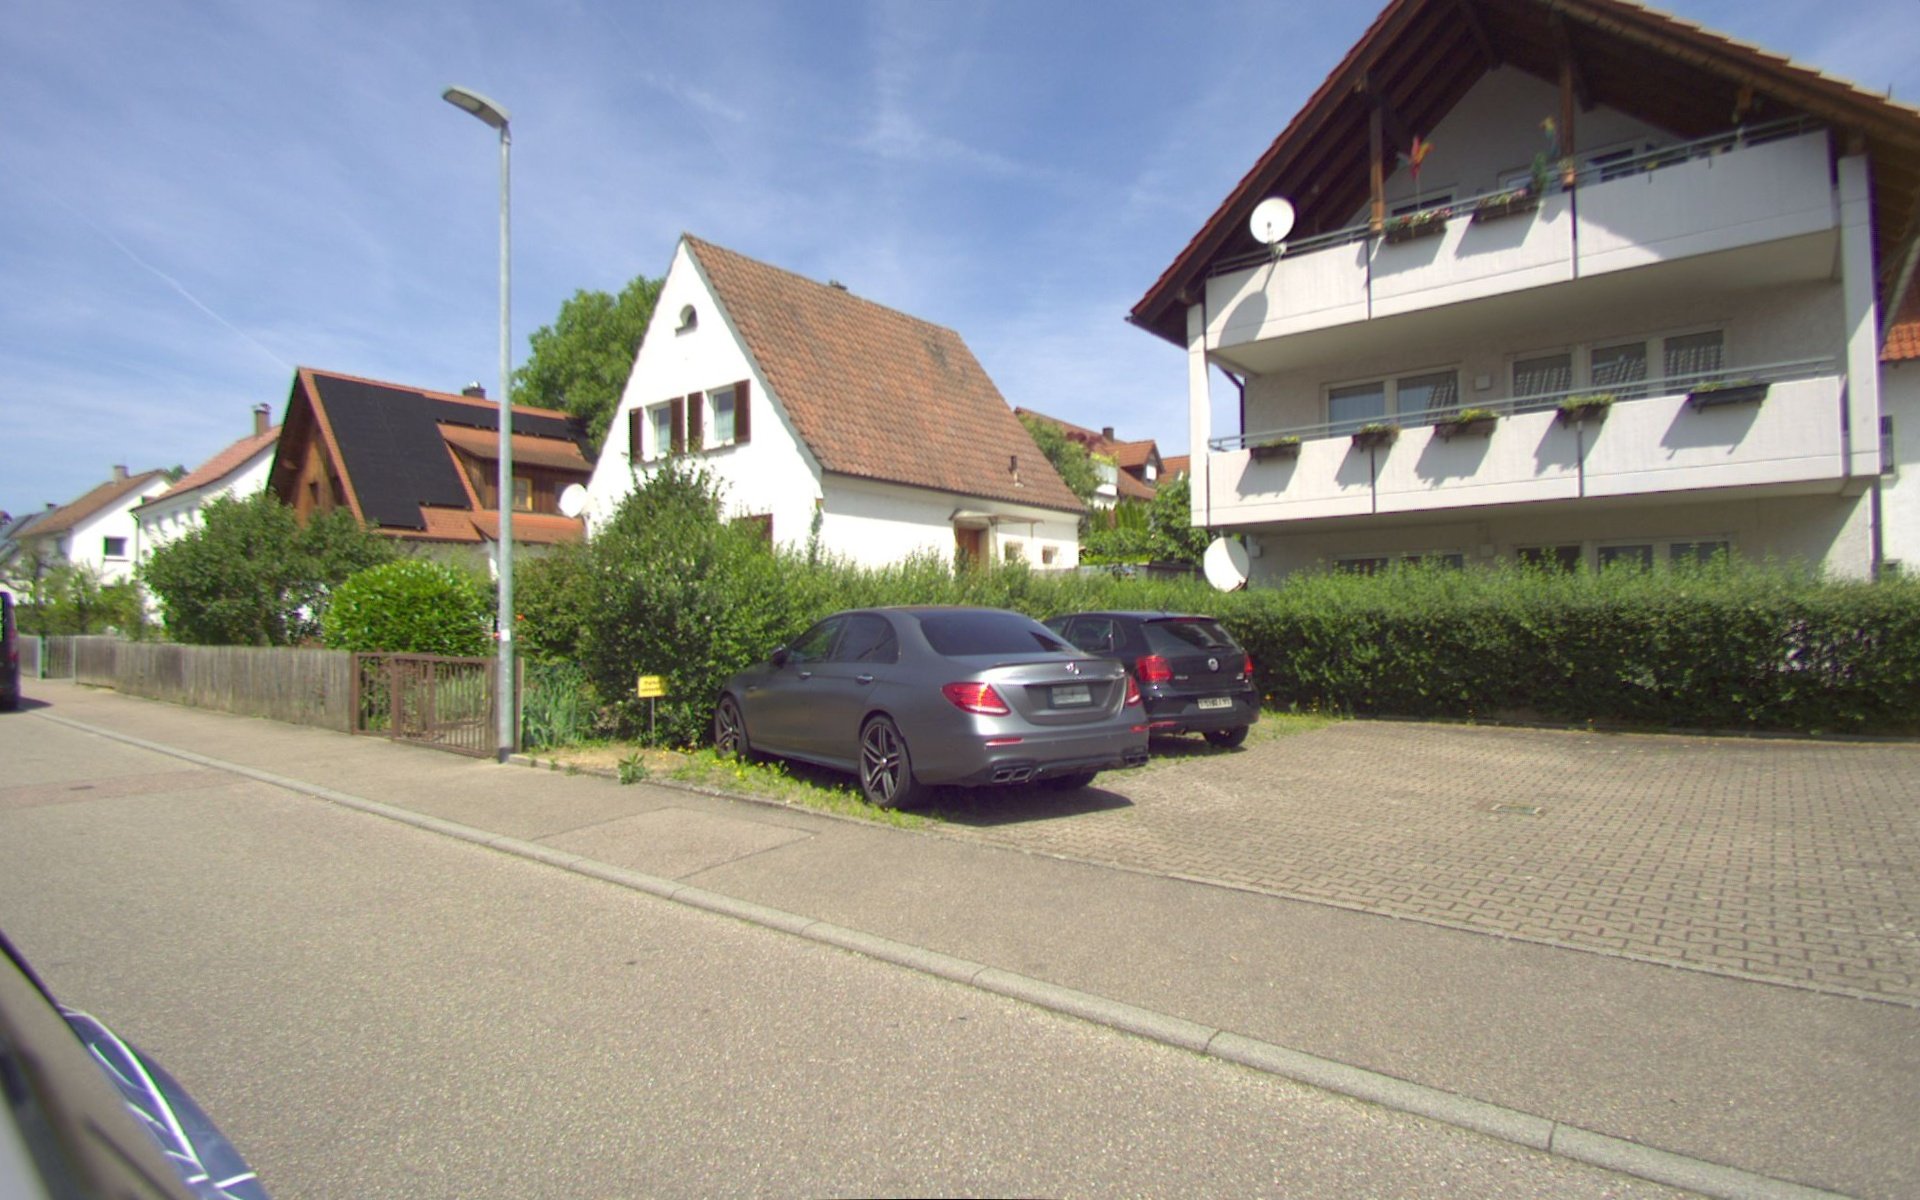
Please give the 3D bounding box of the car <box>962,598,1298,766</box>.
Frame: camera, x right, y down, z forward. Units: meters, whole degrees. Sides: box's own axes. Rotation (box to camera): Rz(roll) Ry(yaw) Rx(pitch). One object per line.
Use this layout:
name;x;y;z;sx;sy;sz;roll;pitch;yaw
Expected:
car;1.678;0.771;11.132;1.666;1.513;3.662;0;-1;-30

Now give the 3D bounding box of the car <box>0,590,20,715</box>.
car;-17.326;0.865;16.768;4.691;1.966;1.949;-1;-1;39

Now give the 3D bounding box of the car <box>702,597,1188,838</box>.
car;-0.454;0.745;8.461;1.802;1.443;4.574;0;-1;-35
